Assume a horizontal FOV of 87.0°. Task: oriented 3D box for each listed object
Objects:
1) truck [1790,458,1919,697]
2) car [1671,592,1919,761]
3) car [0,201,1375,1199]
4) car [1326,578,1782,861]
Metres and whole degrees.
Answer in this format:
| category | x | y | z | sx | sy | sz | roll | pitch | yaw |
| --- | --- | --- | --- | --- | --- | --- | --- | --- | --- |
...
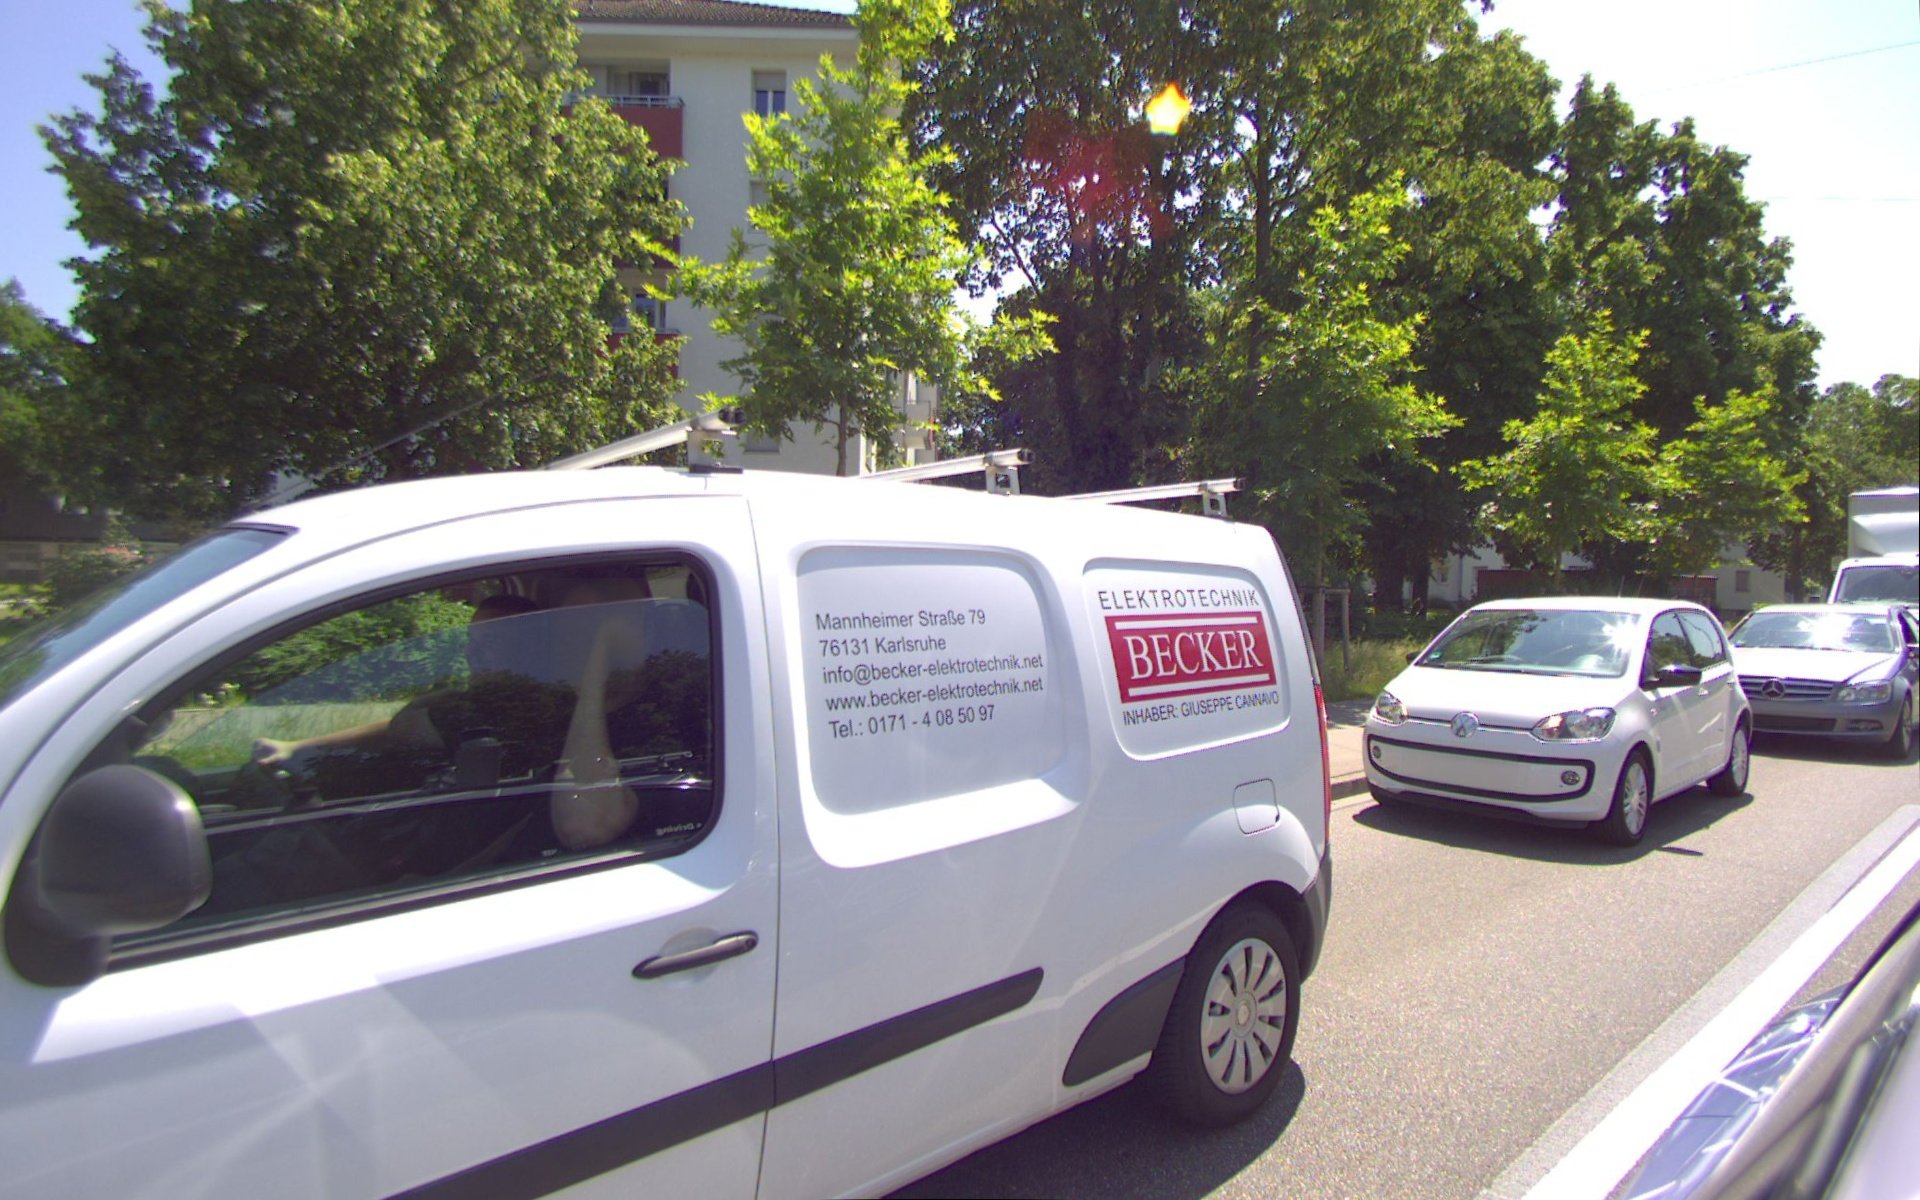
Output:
| category | x | y | z | sx | sy | sz | roll | pitch | yaw |
| --- | --- | --- | --- | --- | --- | --- | --- | --- | --- |
| truck | 16.517 | -0.338 | 16.976 | 7.778 | 3.387 | 2.434 | 0 | 1 | -39 |
| car | 9.234 | 0.653 | 10.741 | 4.016 | 1.426 | 1.839 | 0 | 1 | -41 |
| car | -0.992 | 0.453 | 2.537 | 4.370 | 1.849 | 1.997 | 0 | 1 | -41 |
| car | 4.401 | 0.620 | 7.290 | 3.705 | 1.497 | 1.729 | 0 | 1 | -41 |
